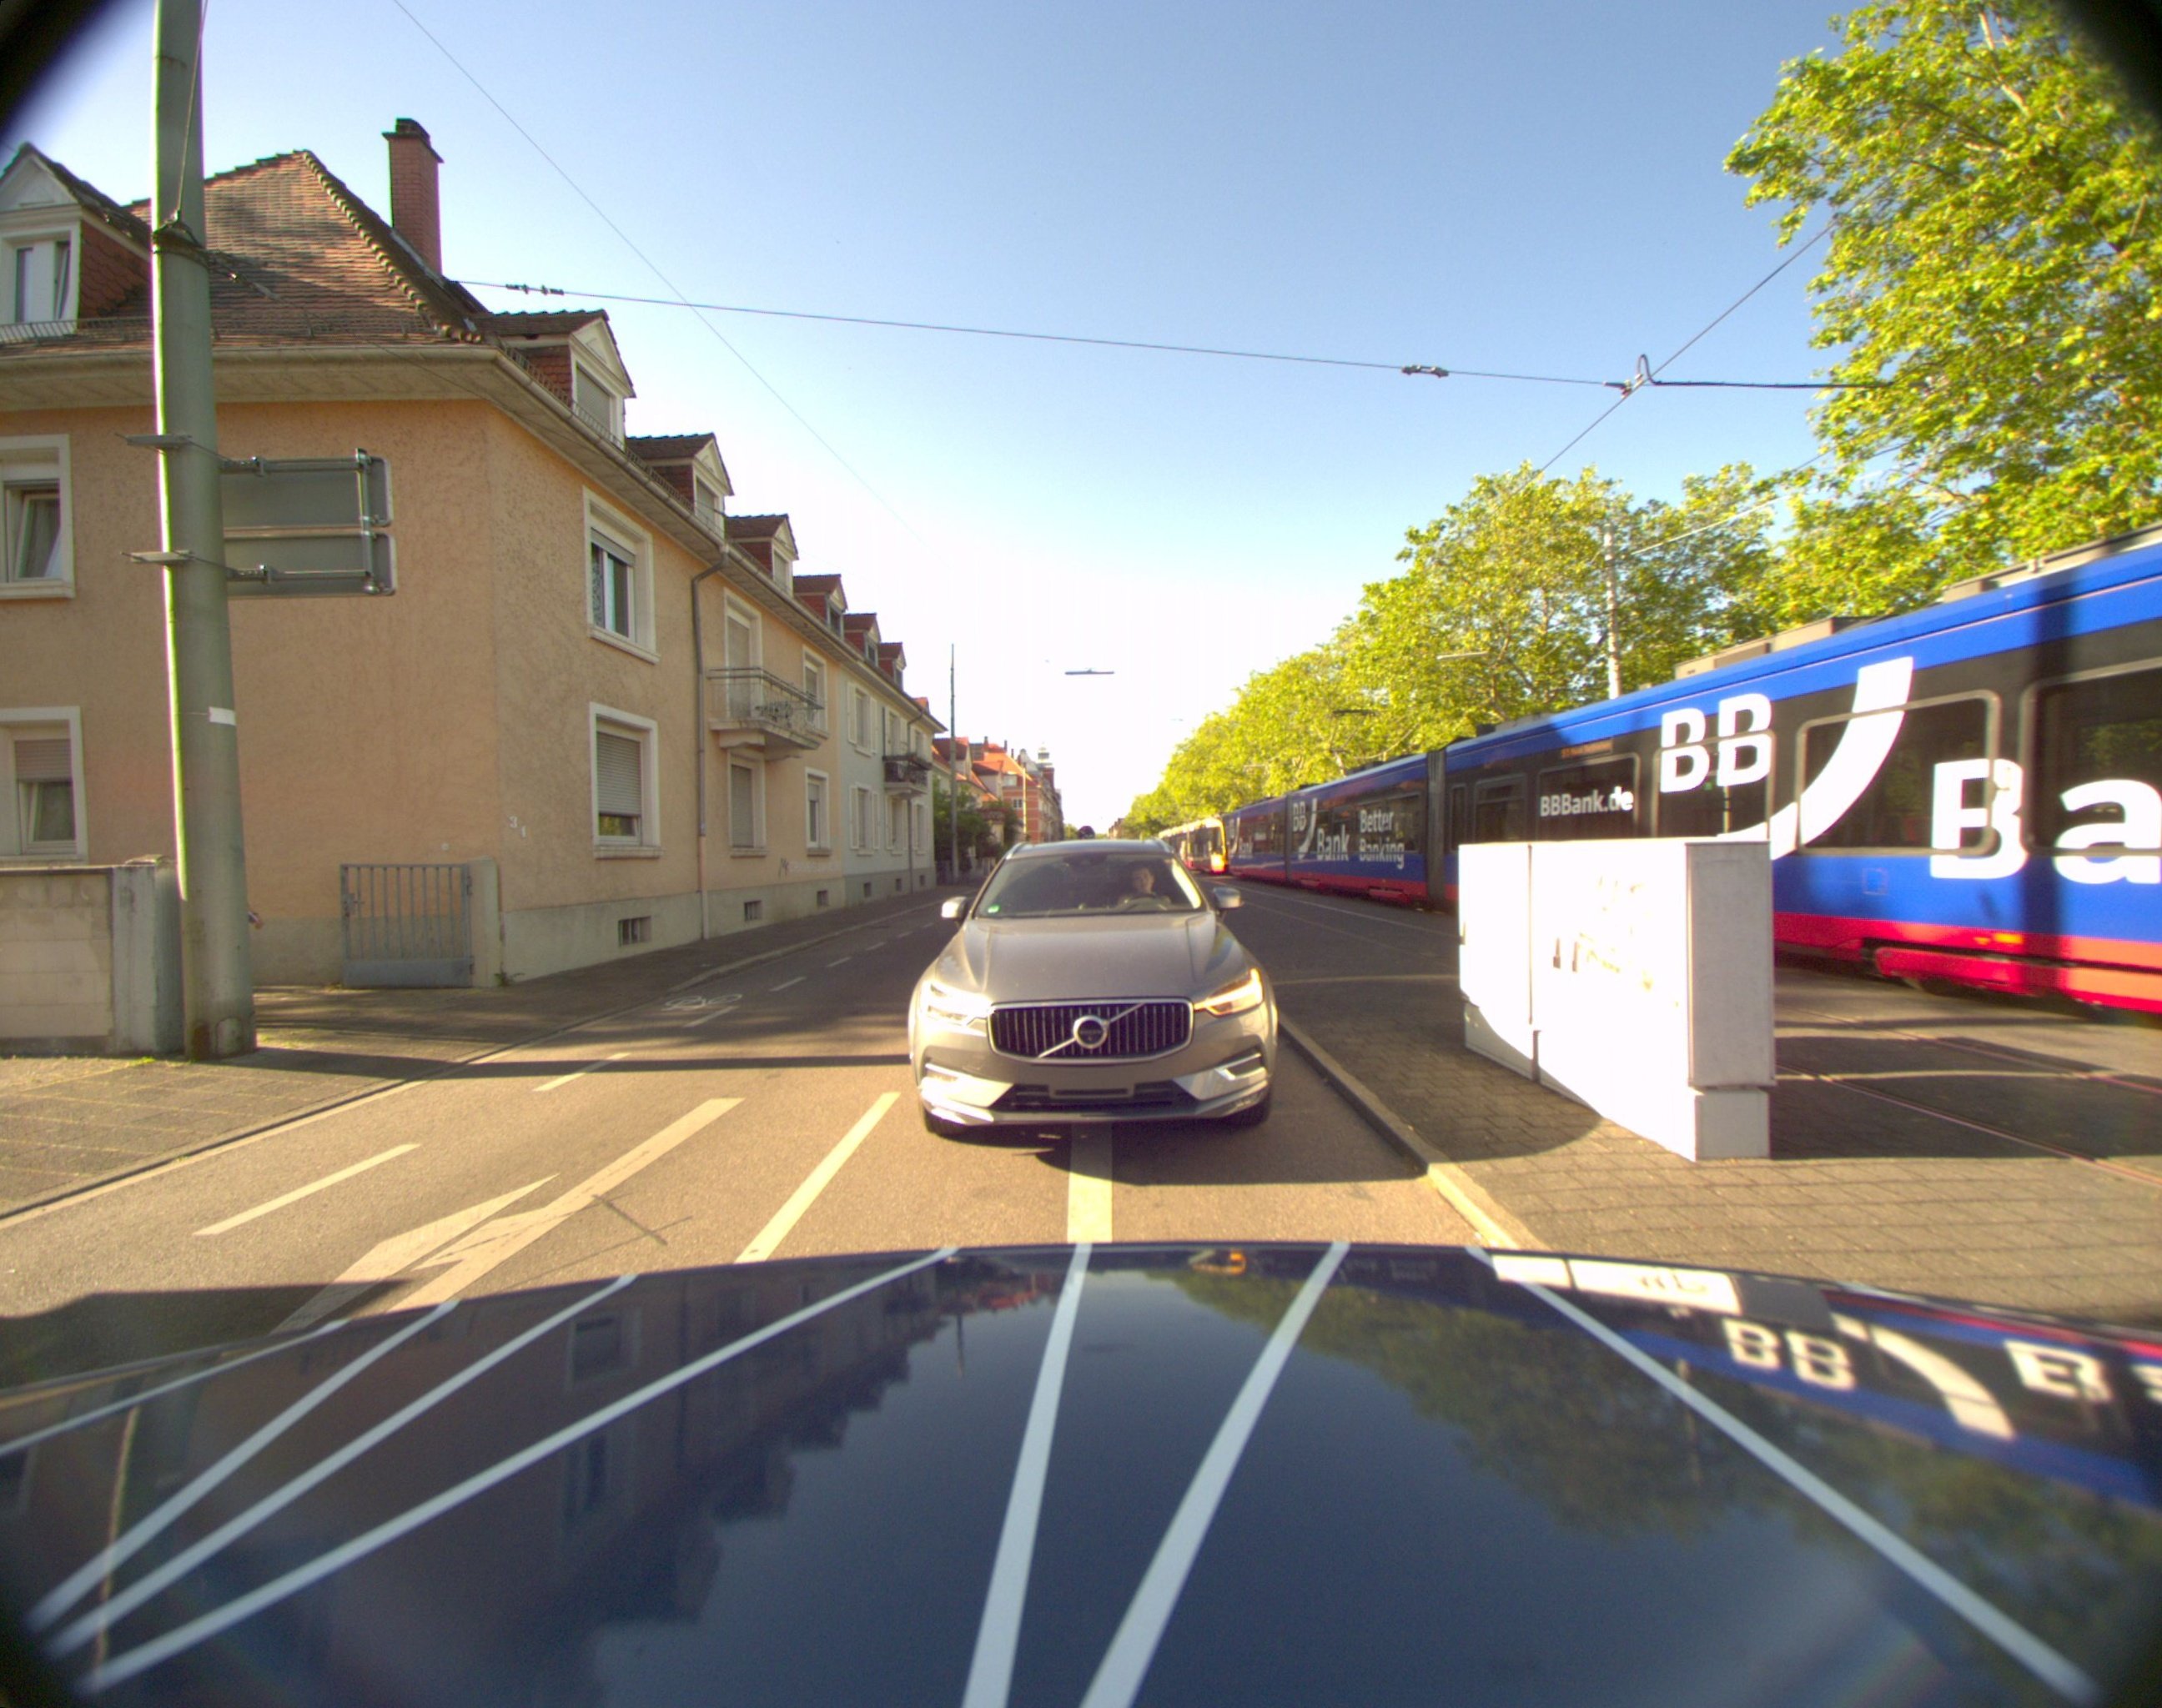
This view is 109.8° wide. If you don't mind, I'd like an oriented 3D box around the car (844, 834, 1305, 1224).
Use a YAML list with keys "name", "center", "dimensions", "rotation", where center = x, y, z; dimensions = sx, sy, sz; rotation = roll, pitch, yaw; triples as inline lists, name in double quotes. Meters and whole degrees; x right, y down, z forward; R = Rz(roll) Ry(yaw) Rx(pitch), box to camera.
- name: "car"
  center: [0.005, 0.731, 5.469]
  dimensions: [1.917, 1.621, 4.502]
  rotation: [-1, 0, 1]

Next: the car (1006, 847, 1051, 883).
- name: "car"
  center: [-2.889, 0.564, 42.983]
  dimensions: [1.932, 1.834, 5.313]
  rotation: [-1, 0, 2]

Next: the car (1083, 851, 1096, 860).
- name: "car"
  center: [1.384, 0.230, 125.246]
  dimensions: [1.882, 1.477, 3.999]
  rotation: [-1, 0, -1]

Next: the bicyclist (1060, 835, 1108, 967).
- name: "bicyclist"
  center: [0.044, 0.608, 10.225]
  dimensions: [0.600, 1.709, 0.662]
  rotation: [-1, 1, 1]

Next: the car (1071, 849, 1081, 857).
- name: "car"
  center: [-1.001, -0.122, 147.388]
  dimensions: [1.882, 1.477, 3.999]
  rotation: [-1, 0, -1]

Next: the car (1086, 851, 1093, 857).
- name: "car"
  center: [2.250, 0.067, 202.796]
  dimensions: [1.882, 1.477, 3.999]
  rotation: [-1, 0, -1]

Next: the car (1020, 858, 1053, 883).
- name: "car"
  center: [-2.790, 1.009, 48.427]
  dimensions: [1.882, 1.477, 3.999]
  rotation: [-1, 0, -1]

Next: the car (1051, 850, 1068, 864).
- name: "car"
  center: [-2.418, 0.340, 85.620]
  dimensions: [1.882, 1.477, 3.999]
  rotation: [-1, 0, -1]

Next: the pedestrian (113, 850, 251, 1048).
- name: "pedestrian"
  center: [-8.322, 0.845, 7.056]
  dimensions: [0.486, 1.750, 0.602]
  rotation: [-1, 1, 2]

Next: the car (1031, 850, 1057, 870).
- name: "car"
  center: [-2.905, 0.474, 60.590]
  dimensions: [1.882, 1.477, 3.999]
  rotation: [-1, 0, -1]

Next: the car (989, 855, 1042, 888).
- name: "car"
  center: [-3.129, 0.819, 37.178]
  dimensions: [1.881, 1.477, 4.001]
  rotation: [-1, 0, 5]
